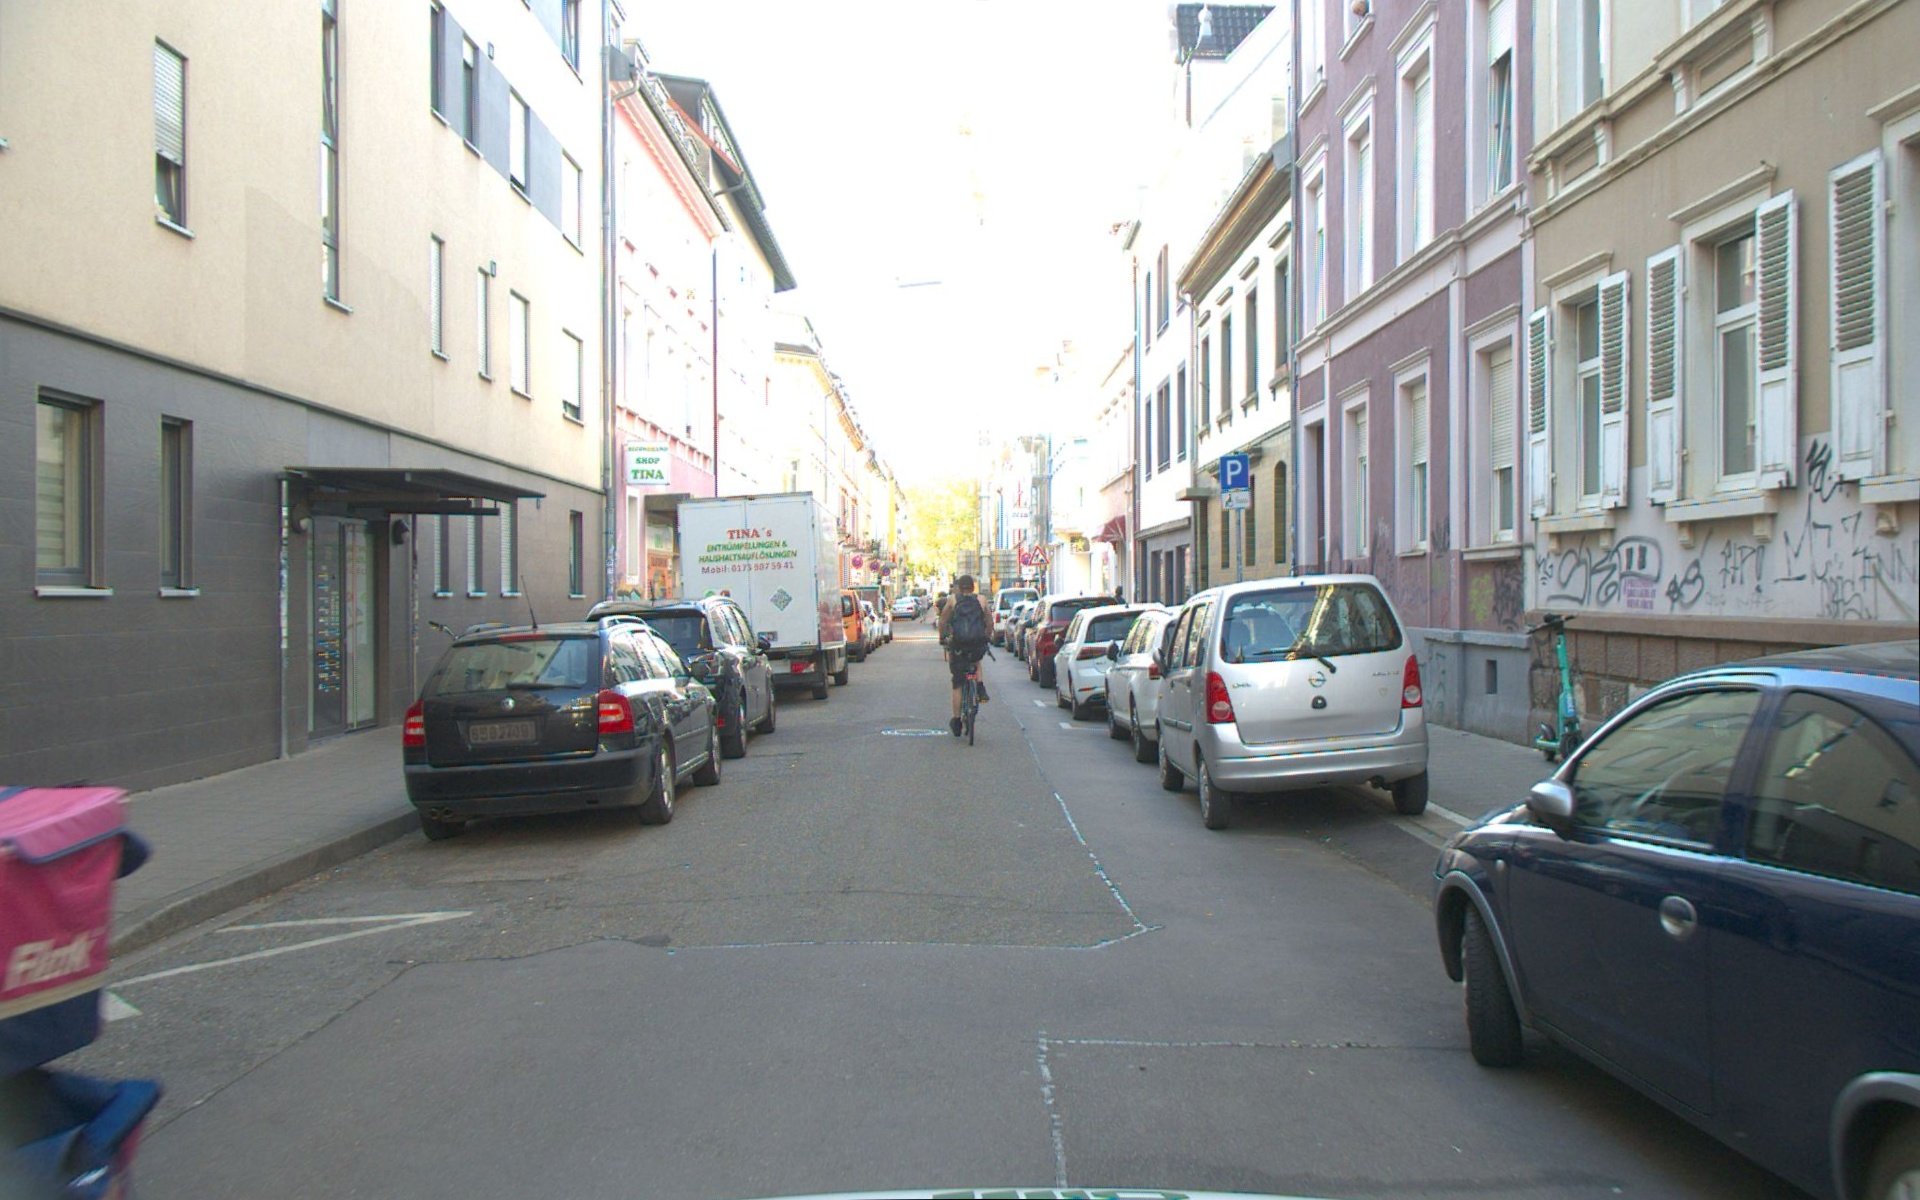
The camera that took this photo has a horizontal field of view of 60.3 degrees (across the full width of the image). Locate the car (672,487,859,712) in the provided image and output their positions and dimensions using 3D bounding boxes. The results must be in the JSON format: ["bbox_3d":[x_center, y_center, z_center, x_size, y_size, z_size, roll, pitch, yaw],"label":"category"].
[{"bbox_3d":[-3.200,0.013,28.917,2.296,3.349,7.153,-2,-1,0],"label":"car"}]

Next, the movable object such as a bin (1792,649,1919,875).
[{"bbox_3d":[4.939,0.837,8.758,0.737,1.107,0.559,-2,0,-2],"label":"movable object such as a bin"}]

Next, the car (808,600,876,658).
[{"bbox_3d":[-3.437,0.838,48.651,1.714,1.564,4.318,-2,-1,-1],"label":"car"}]

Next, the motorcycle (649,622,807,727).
[{"bbox_3d":[-3.124,0.986,22.416,0.777,1.275,2.096,-3,0,40],"label":"motorcycle"}]

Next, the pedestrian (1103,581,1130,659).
[{"bbox_3d":[4.204,0.535,44.399,0.631,2.049,0.763,0,-1,-1],"label":"pedestrian"}]

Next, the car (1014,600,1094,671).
[{"bbox_3d":[2.201,0.828,39.644,1.633,1.531,3.816,-3,0,0],"label":"car"}]

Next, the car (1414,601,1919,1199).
[{"bbox_3d":[2.555,0.787,4.421,1.521,1.537,3.609,0,-1,-3],"label":"car"}]

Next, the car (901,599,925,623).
[{"bbox_3d":[-3.658,0.862,128.733,1.714,1.853,3.795,-2,-1,-1],"label":"car"}]

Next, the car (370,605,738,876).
[{"bbox_3d":[-2.826,0.881,12.552,1.682,1.504,4.498,-3,1,-1],"label":"car"}]

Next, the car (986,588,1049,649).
[{"bbox_3d":[1.868,0.601,55.169,1.715,1.911,3.970,-2,-1,-3],"label":"car"}]

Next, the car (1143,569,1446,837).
[{"bbox_3d":[2.392,0.692,12.612,1.525,1.742,3.557,0,-1,-1],"label":"car"}]

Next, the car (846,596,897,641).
[{"bbox_3d":[-3.326,0.688,62.542,1.714,1.600,3.795,-2,-1,-1],"label":"car"}]

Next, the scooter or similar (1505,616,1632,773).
[{"bbox_3d":[5.018,0.747,13.708,0.441,1.203,1.368,-4,-1,-1],"label":"scooter or similar"}]

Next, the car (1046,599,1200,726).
[{"bbox_3d":[2.223,0.828,23.447,1.652,1.570,4.045,-3,0,-1],"label":"car"}]

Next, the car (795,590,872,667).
[{"bbox_3d":[-3.253,0.722,43.177,1.717,1.848,4.077,-3,-1,-1],"label":"car"}]

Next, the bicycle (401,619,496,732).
[{"bbox_3d":[-5.814,0.834,18.891,0.480,1.185,1.773,-3,0,0],"label":"bicycle"}]

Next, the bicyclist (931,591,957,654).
[{"bbox_3d":[-0.408,0.582,42.380,0.657,1.595,0.716,0,-1,-2],"label":"bicyclist"}]

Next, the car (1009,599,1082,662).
[{"bbox_3d":[2.251,0.798,44.398,1.613,1.500,3.970,-5,0,-1],"label":"car"}]

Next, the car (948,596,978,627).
[{"bbox_3d":[0.136,0.611,88.730,1.578,1.587,3.609,0,-1,-1],"label":"car"}]

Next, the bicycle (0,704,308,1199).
[{"bbox_3d":[-1.822,0.909,2.196,0.958,1.337,2.554,-2,0,-2],"label":"bicycle"}]

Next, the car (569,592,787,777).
[{"bbox_3d":[-2.981,0.815,18.321,1.682,1.679,4.245,-3,1,-1],"label":"car"}]

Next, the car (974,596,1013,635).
[{"bbox_3d":[1.457,0.666,72.674,1.578,1.662,3.609,0,-1,-1],"label":"car"}]

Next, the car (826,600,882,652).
[{"bbox_3d":[-3.414,0.836,53.762,1.620,1.564,3.633,-2,-1,-1],"label":"car"}]

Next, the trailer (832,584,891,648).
[{"bbox_3d":[-3.450,0.558,58.351,1.843,2.129,3.736,-2,-1,-1],"label":"trailer"}]

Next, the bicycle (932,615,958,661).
[{"bbox_3d":[-0.380,0.950,42.380,0.635,1.149,2.135,0,-1,-1],"label":"bicycle"}]

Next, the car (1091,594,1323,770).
[{"bbox_3d":[2.495,0.784,17.802,1.662,1.570,4.627,-3,0,-1],"label":"car"}]

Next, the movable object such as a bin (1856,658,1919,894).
[{"bbox_3d":[4.926,0.846,8.143,0.680,1.107,0.559,-2,0,-2],"label":"movable object such as a bin"}]

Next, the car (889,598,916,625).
[{"bbox_3d":[-3.862,0.780,111.563,1.714,1.713,3.795,-2,-1,-1],"label":"car"}]

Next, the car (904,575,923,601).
[{"bbox_3d":[-4.431,-1.164,159.137,1.714,2.358,3.795,-2,-1,-1],"label":"car"}]

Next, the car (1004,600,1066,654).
[{"bbox_3d":[2.245,0.804,50.110,1.714,1.513,3.800,-2,-1,1],"label":"car"}]

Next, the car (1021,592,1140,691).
[{"bbox_3d":[2.217,0.735,31.605,1.879,1.736,4.365,1,0,-1],"label":"car"}]

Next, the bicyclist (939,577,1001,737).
[{"bbox_3d":[0.100,0.615,18.219,0.654,1.706,1.097,0,-1,-1],"label":"bicyclist"}]

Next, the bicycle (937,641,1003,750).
[{"bbox_3d":[0.091,1.020,18.196,0.663,1.093,1.941,0,-1,-1],"label":"bicycle"}]
